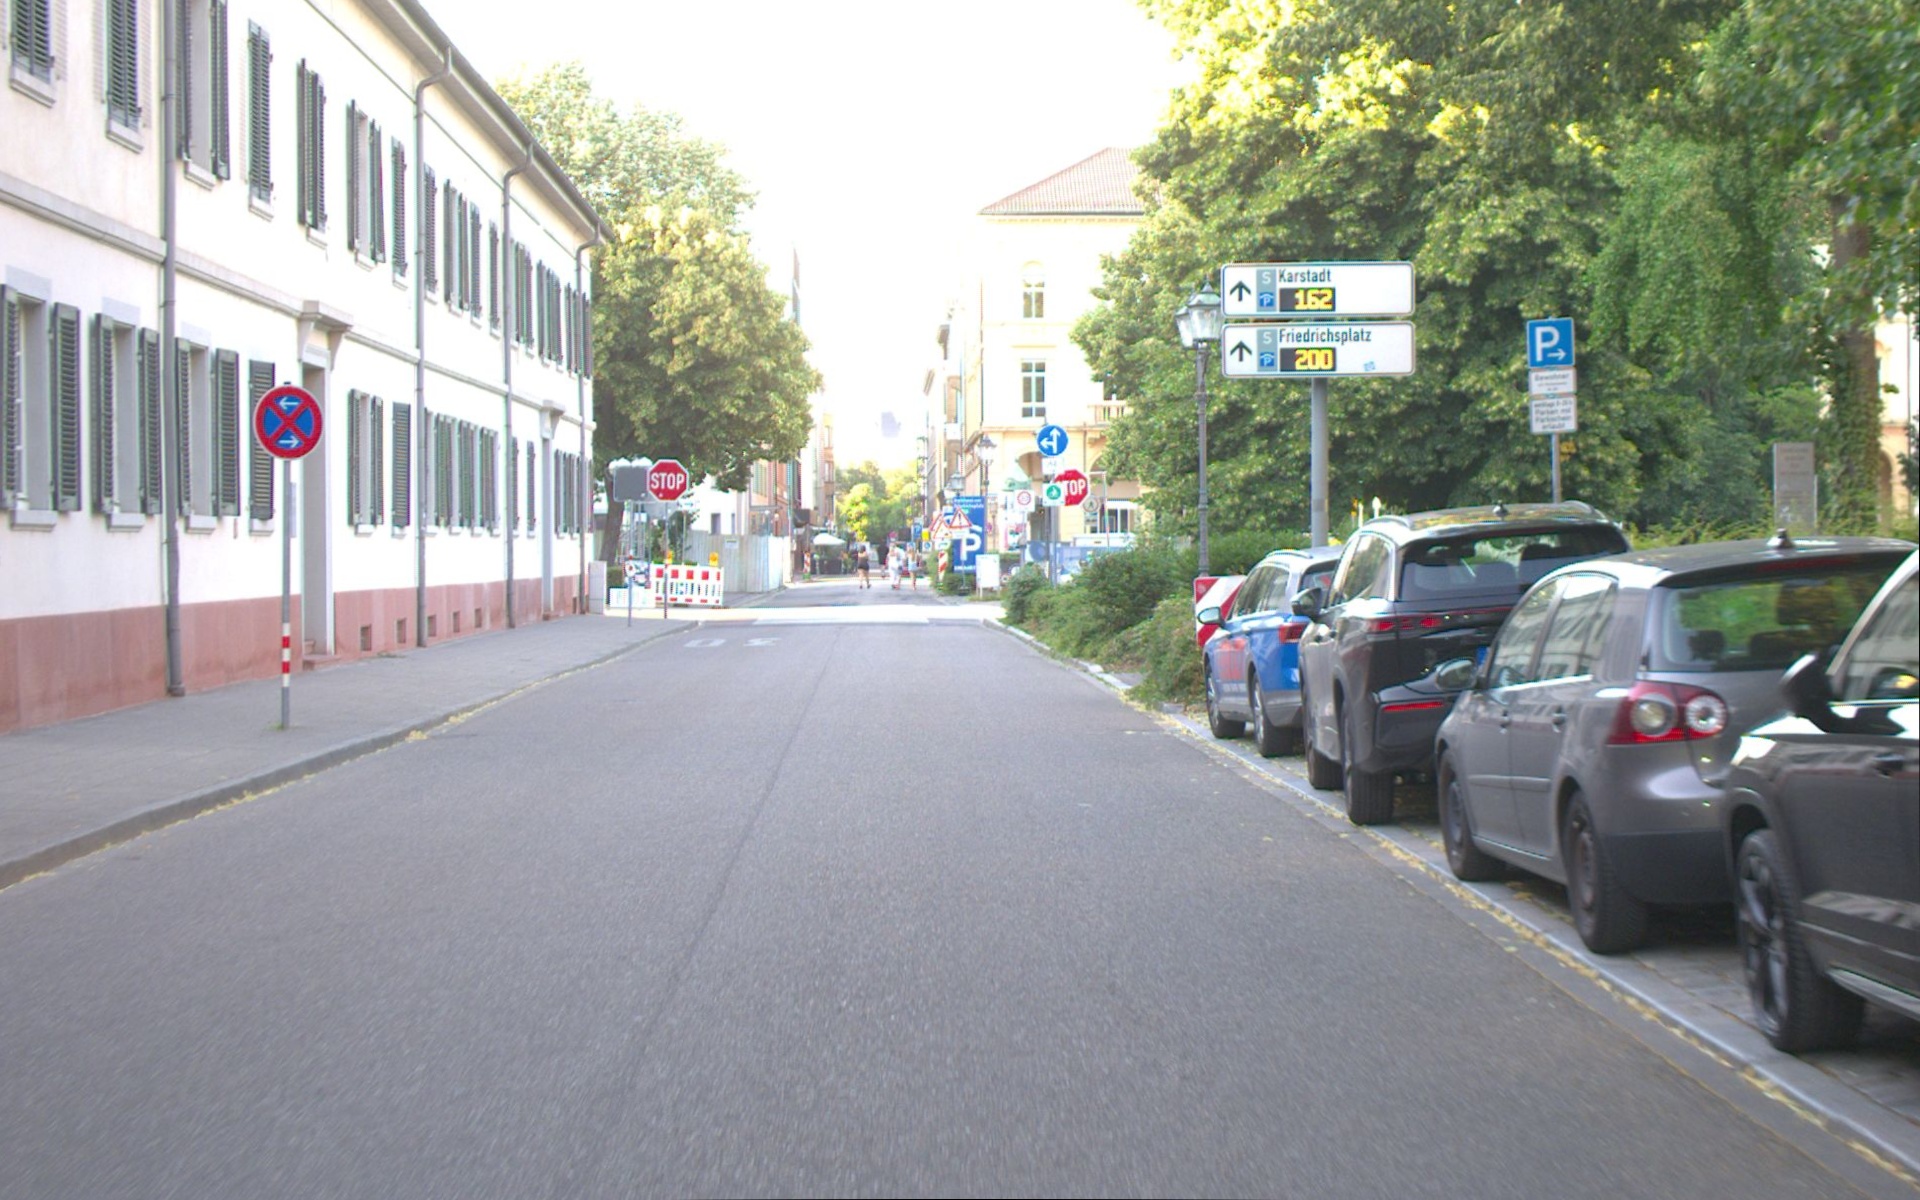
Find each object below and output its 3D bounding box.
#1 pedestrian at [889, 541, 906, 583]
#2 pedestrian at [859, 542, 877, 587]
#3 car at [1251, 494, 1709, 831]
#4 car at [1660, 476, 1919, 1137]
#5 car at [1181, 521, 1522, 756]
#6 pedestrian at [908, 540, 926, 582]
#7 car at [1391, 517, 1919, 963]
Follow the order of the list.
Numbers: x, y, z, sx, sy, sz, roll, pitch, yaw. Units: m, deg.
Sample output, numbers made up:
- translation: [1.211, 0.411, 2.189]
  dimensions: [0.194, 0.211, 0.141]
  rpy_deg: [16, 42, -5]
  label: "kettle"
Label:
- translation: [-2.421, -1.468, 133.403]
  dimensions: [0.657, 1.611, 0.745]
  rpy_deg: [-1, 1, -1]
  label: "pedestrian"
- translation: [-3.556, -1.389, 133.393]
  dimensions: [0.657, 1.754, 0.745]
  rpy_deg: [-1, 1, -1]
  label: "pedestrian"
- translation: [2.793, 0.296, 19.474]
  dimensions: [1.724, 1.646, 4.713]
  rpy_deg: [-1, 0, -2]
  label: "car"
- translation: [3.281, 0.473, 8.867]
  dimensions: [1.807, 1.645, 4.419]
  rpy_deg: [-5, 2, -2]
  label: "car"
- translation: [2.822, 0.232, 25.766]
  dimensions: [1.724, 1.483, 4.611]
  rpy_deg: [-4, 1, -3]
  label: "car"
- translation: [-1.679, -1.507, 133.449]
  dimensions: [0.657, 1.611, 0.745]
  rpy_deg: [-1, 1, -1]
  label: "pedestrian"
- translation: [2.959, 0.472, 14.083]
  dimensions: [1.724, 1.533, 4.190]
  rpy_deg: [-1, 0, -2]
  label: "car"
